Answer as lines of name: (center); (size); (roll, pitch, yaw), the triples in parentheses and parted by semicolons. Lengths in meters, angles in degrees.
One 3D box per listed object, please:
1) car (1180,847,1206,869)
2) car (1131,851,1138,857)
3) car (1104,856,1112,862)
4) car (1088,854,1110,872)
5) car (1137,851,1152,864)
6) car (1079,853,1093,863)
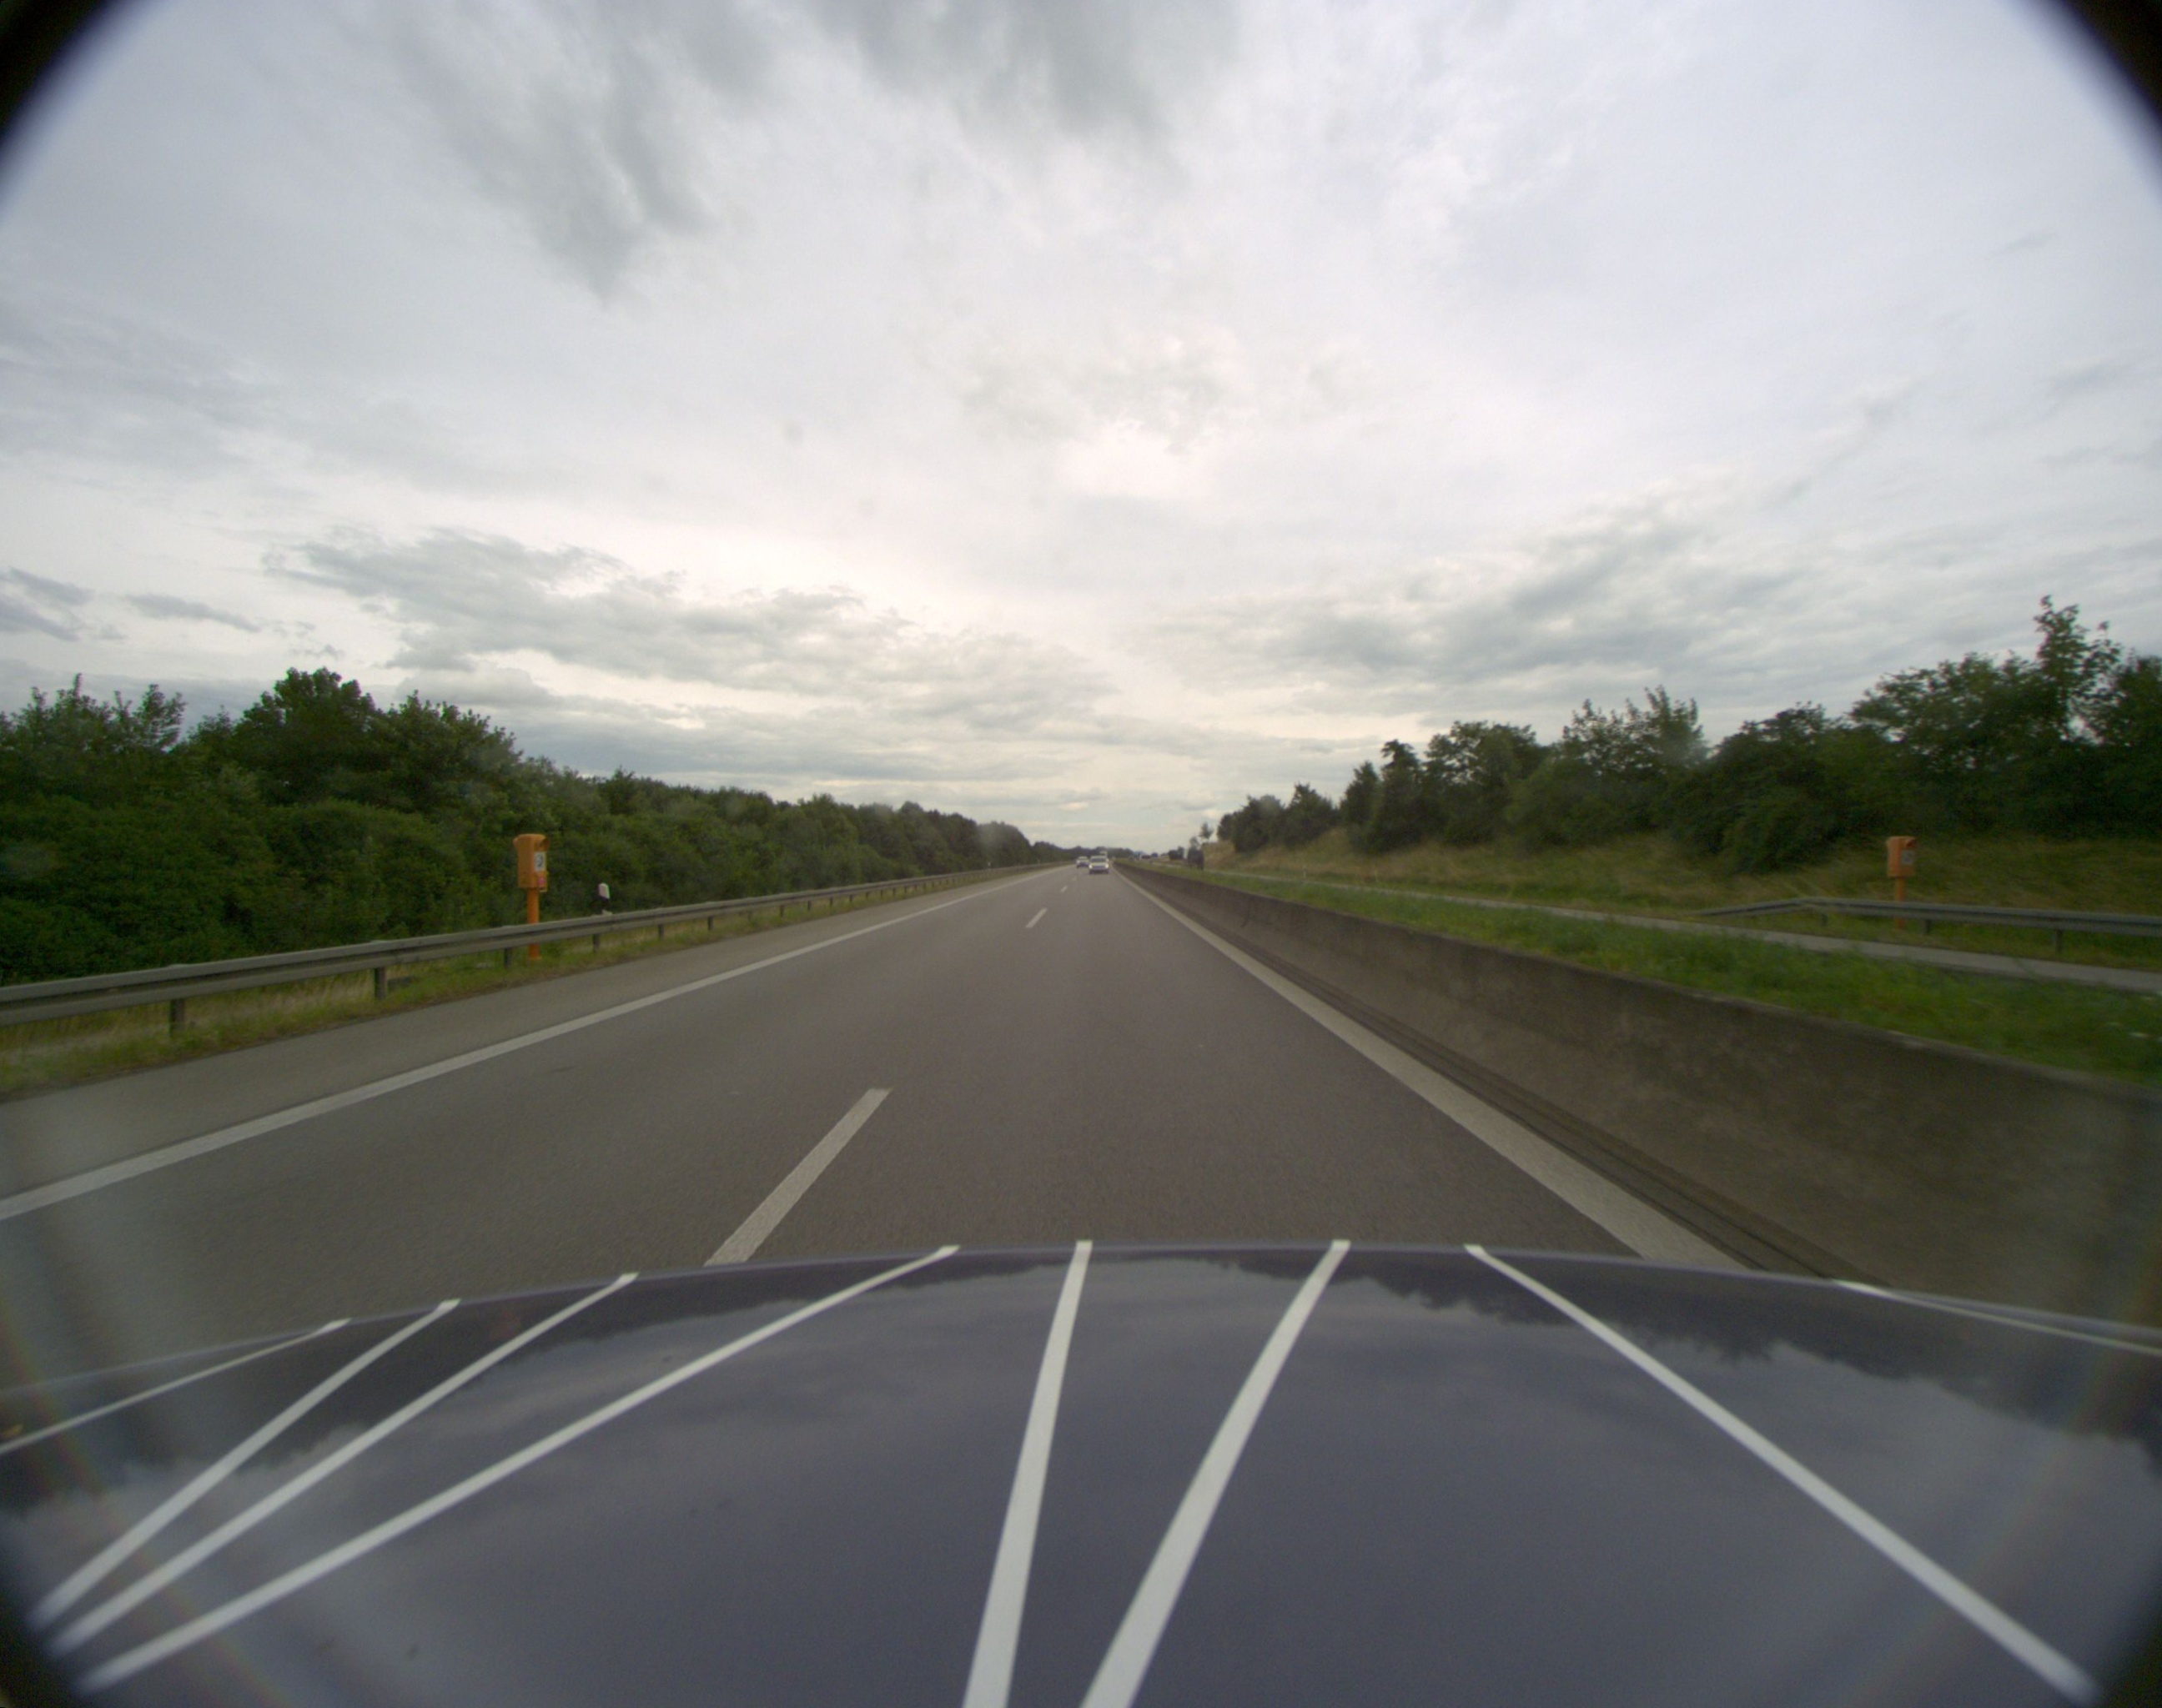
car: (13.301, 0.433, 90.329); (2.175, 2.450, 6.723); (1, 0, 1)
car: (14.988, -0.084, 212.796); (1.785, 1.674, 4.000); (-2, 0, 1)
car: (6.808, 1.237, 193.151); (1.915, 1.553, 4.289); (-1, 0, 4)
car: (1.619, 0.802, 70.080); (1.916, 1.553, 4.287); (-1, 0, -1)
car: (9.678, 0.557, 116.491); (1.984, 2.002, 5.130); (-1, 0, 1)
car: (0.781, 0.598, 115.668); (1.915, 1.553, 4.289); (-1, 0, 4)
